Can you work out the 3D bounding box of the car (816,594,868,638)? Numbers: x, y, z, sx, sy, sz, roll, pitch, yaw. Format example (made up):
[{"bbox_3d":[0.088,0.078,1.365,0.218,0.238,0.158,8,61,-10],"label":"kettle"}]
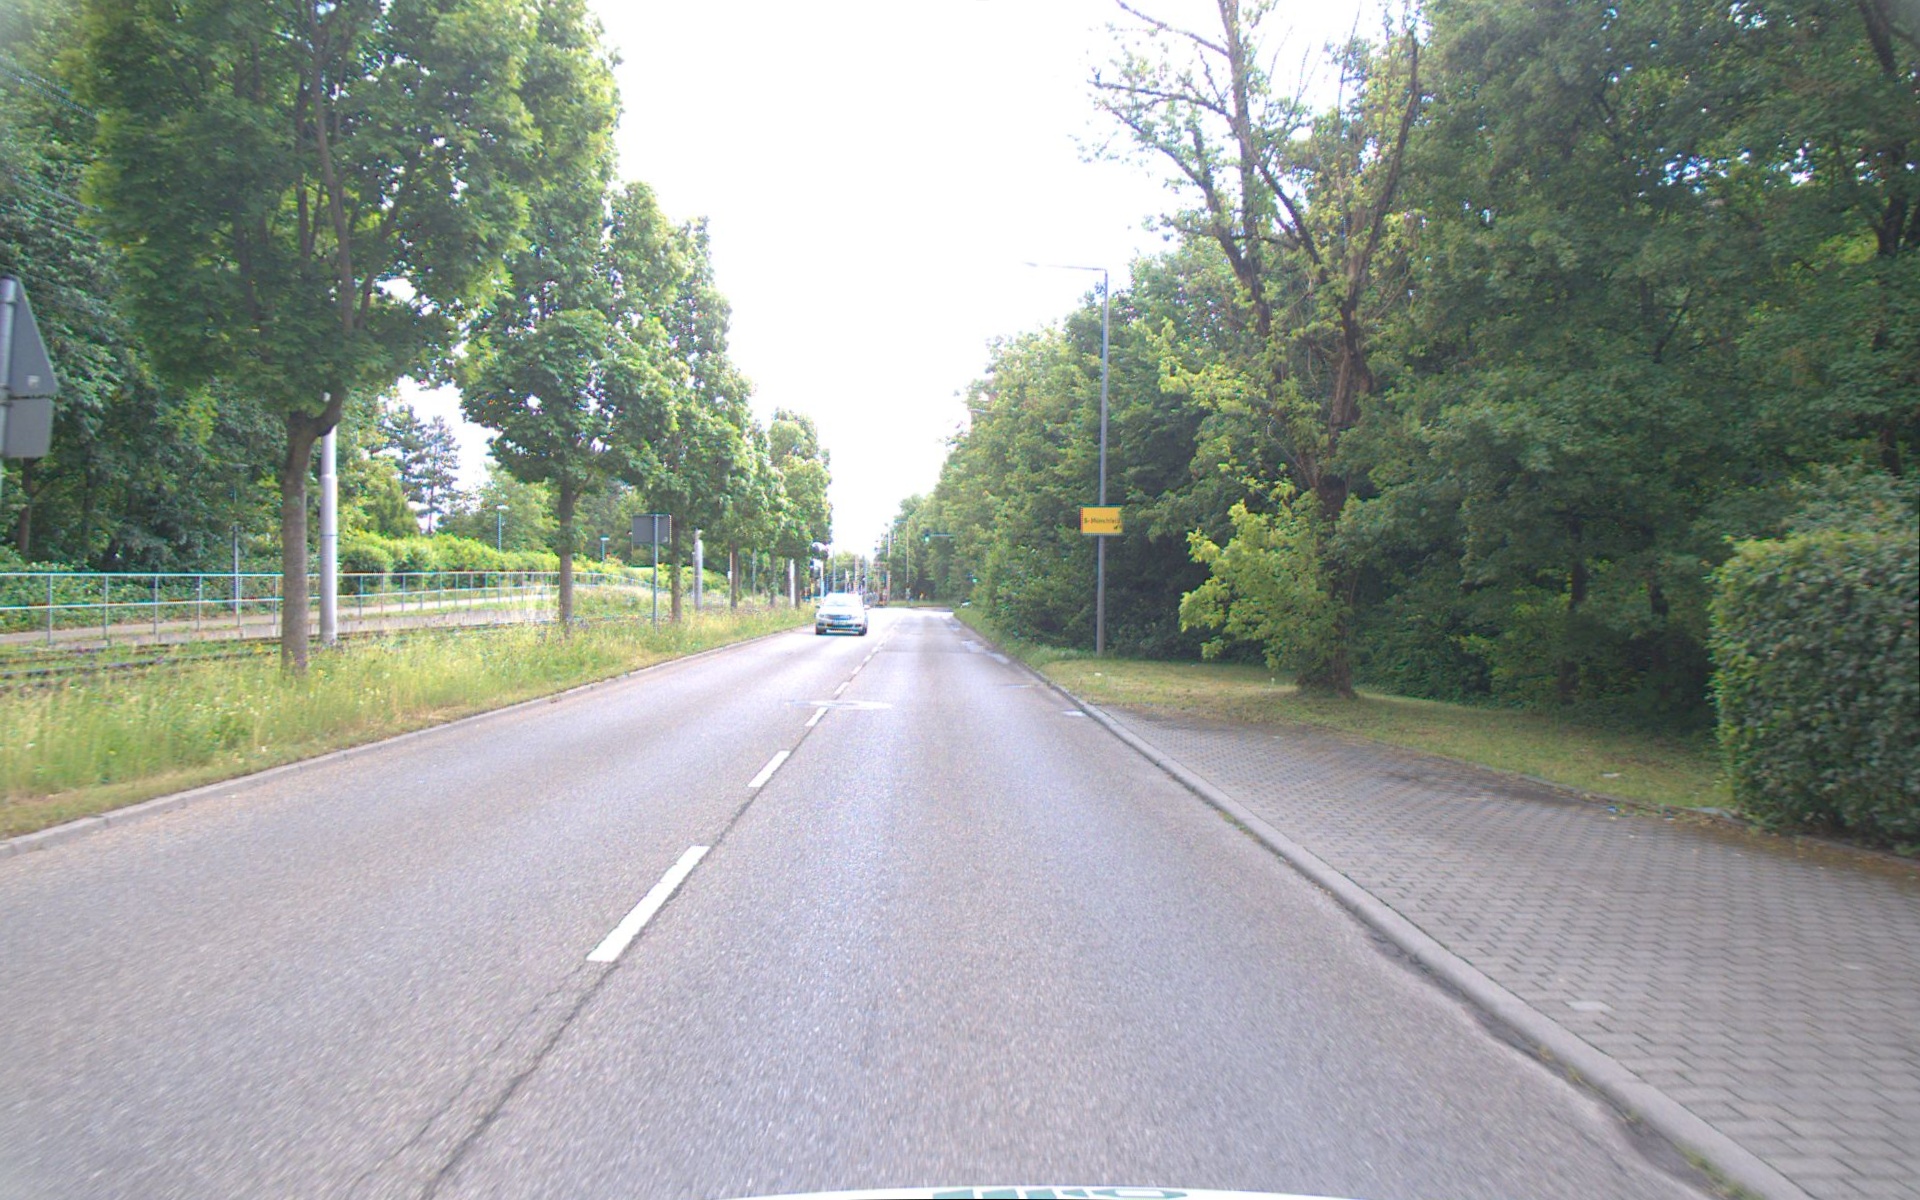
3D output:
[{"bbox_3d":[-4.242,0.560,59.499,1.739,1.494,4.238,1,0,-4],"label":"car"}]
